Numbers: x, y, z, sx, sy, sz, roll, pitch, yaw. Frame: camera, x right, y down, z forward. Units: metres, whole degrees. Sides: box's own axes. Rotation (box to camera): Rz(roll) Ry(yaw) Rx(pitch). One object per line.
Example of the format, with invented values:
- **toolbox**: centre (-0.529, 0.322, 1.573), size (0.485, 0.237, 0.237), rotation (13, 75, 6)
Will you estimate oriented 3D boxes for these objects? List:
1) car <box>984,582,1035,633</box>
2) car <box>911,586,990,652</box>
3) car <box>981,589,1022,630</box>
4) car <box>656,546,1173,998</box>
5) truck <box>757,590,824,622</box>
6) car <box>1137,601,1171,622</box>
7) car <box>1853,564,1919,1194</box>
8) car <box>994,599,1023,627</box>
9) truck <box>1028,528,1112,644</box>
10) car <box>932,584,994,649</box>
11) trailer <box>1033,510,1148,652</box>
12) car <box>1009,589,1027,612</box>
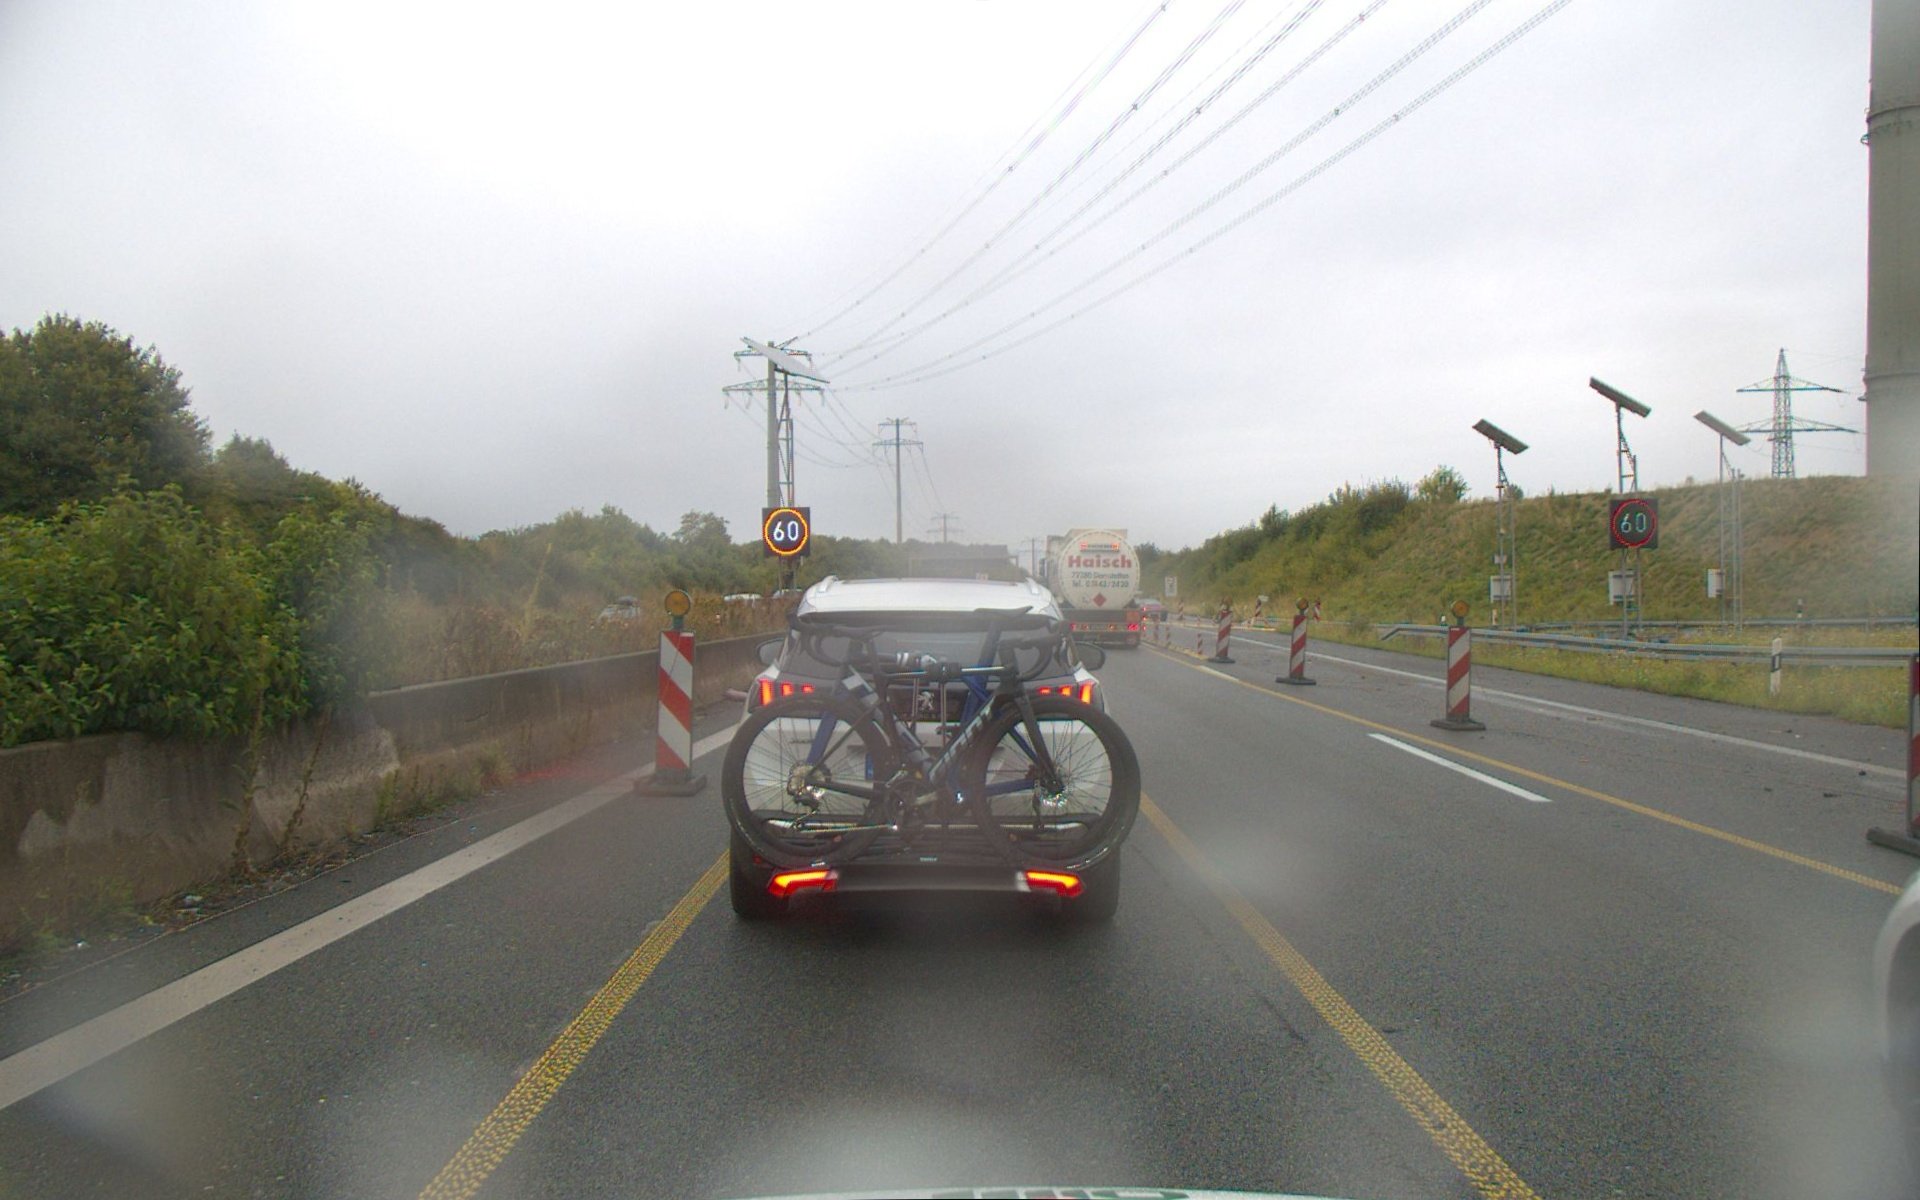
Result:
- **car**: centre (2.083, 0.299, 70.944), size (1.953, 2.049, 4.000), rotation (-1, 1, -1)
- **car**: centre (-0.261, 0.464, 42.657), size (1.953, 1.611, 3.999), rotation (0, 0, -1)
- **car**: centre (2.118, 0.503, 85.565), size (1.953, 2.049, 3.999), rotation (1, -1, -1)
- **car**: centre (-0.109, 0.620, 8.370), size (1.888, 1.639, 4.596), rotation (0, 0, 1)
- **truck**: centre (-14.255, 0.494, 139.471), size (1.959, 2.470, 6.413), rotation (-1, 1, 34)
- **car**: centre (11.497, 0.702, 98.293), size (1.452, 1.181, 3.906), rotation (-1, 0, -1)
- **car**: centre (3.253, 0.697, 2.302), size (1.831, 1.561, 4.197), rotation (0, 0, 1)
- **car**: centre (3.678, 1.013, 126.043), size (1.953, 2.049, 3.999), rotation (1, -1, -1)
- **truck**: centre (3.855, -0.462, 58.688), size (2.591, 3.959, 4.029), rotation (1, -1, -1)
- **car**: centre (0.070, 0.530, 55.591), size (1.953, 2.049, 3.999), rotation (-1, 0, -1)
- **trailer**: centre (3.946, -0.497, 52.163), size (2.584, 3.961, 10.541), rotation (1, 0, -1)
- **car**: centre (5.434, 0.041, 155.319), size (1.619, 2.049, 4.002), rotation (0, 0, 3)
